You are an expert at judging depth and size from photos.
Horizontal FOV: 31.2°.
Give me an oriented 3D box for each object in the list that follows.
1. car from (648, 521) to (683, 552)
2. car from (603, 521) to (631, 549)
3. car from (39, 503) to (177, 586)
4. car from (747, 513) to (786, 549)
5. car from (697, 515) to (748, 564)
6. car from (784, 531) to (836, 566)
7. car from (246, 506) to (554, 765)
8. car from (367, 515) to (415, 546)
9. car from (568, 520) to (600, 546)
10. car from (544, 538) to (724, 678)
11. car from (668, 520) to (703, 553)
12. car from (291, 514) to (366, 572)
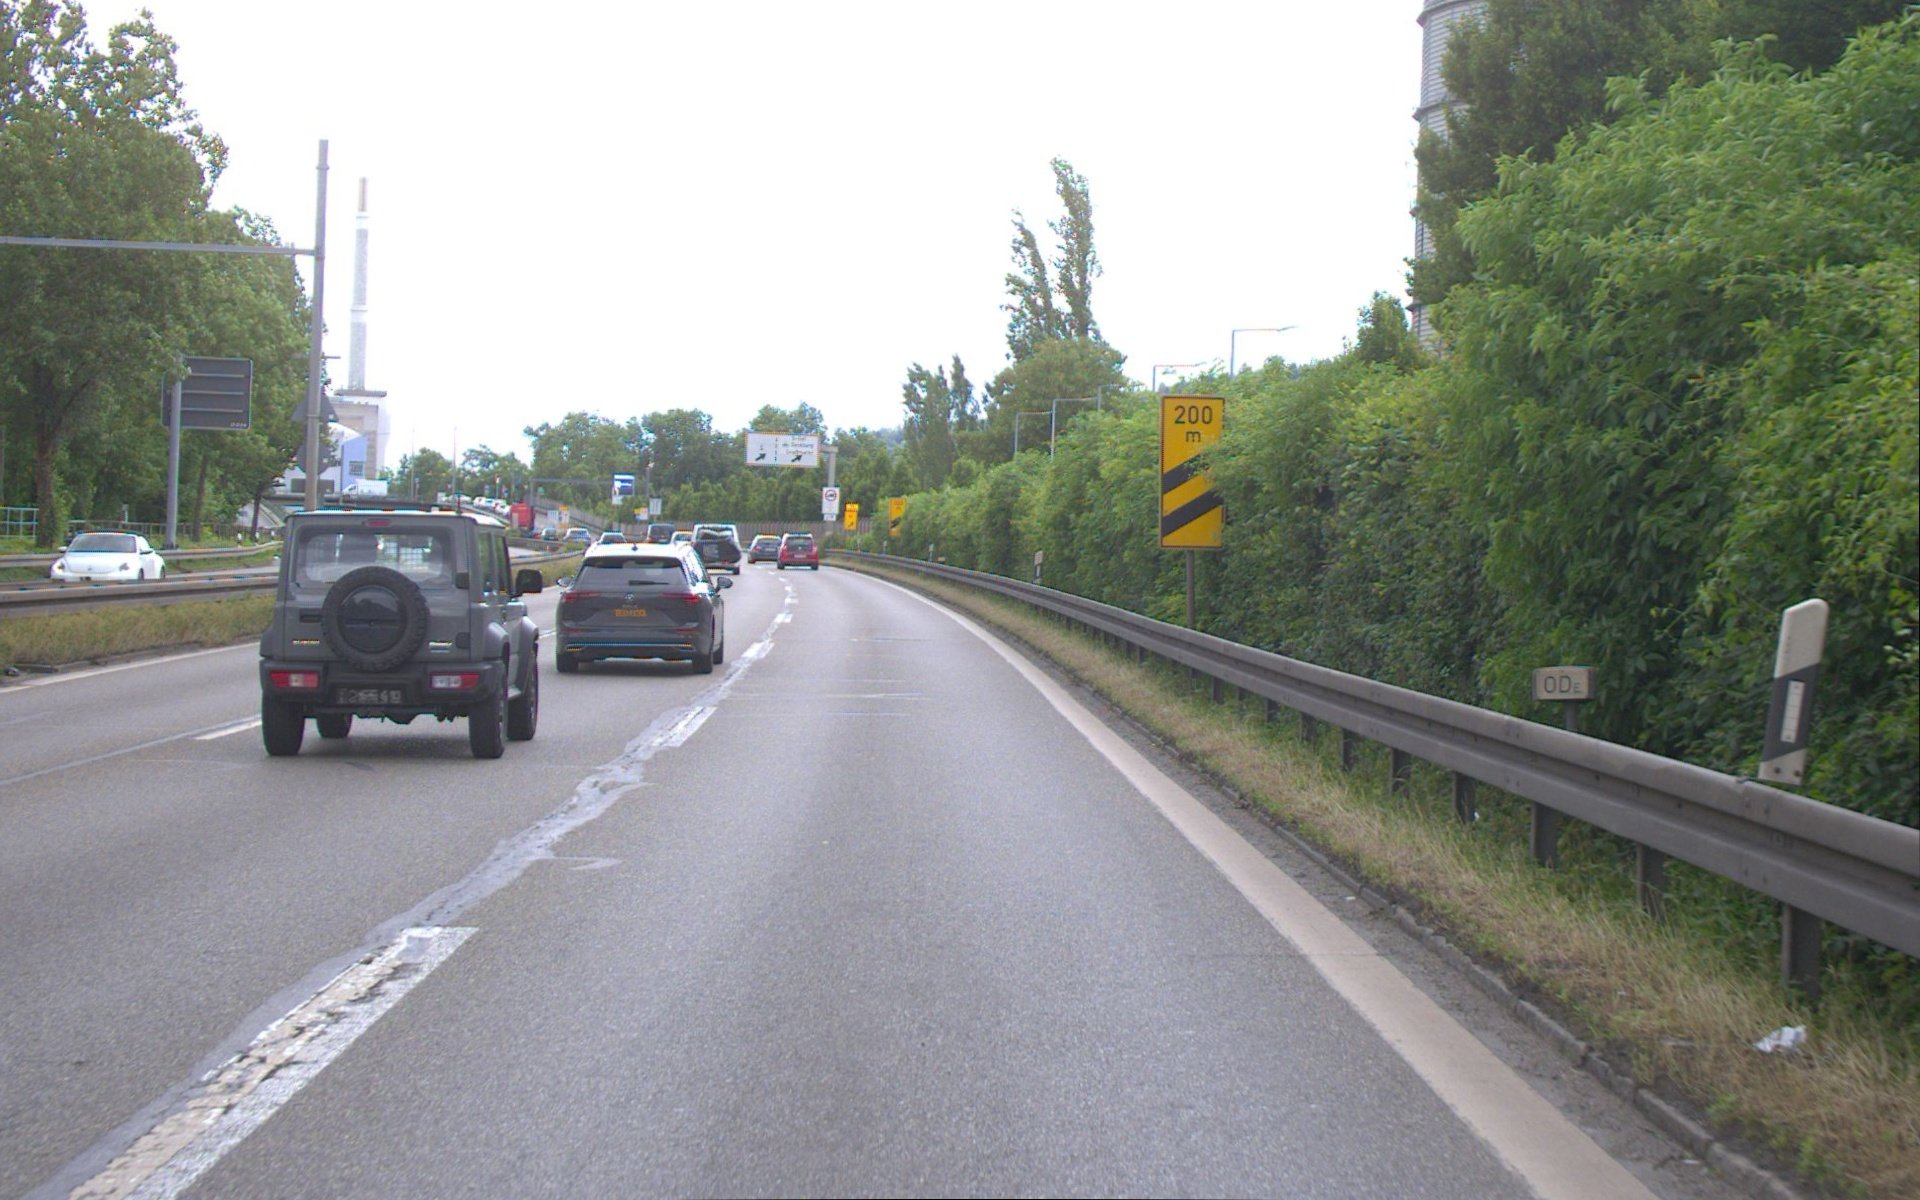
[{"bbox_3d":[-19.097,-4.110,222.543,2.013,1.927,4.902,1,1,-7],"label":"car"},{"bbox_3d":[-21.273,-4.035,213.277,1.697,1.736,4.394,1,1,-6],"label":"car"},{"bbox_3d":[-18.004,-1.192,72.870,1.866,1.669,4.719,1,1,-2],"label":"car"},{"bbox_3d":[-9.750,-3.461,173.067,1.697,1.736,4.394,1,1,-6],"label":"car"},{"bbox_3d":[-8.830,-2.251,128.020,1.697,1.736,4.000,2,1,-1],"label":"car"},{"bbox_3d":[-6.494,-2.232,148.498,1.974,1.418,4.901,1,1,-5],"label":"car"},{"bbox_3d":[-3.930,0.187,24.678,1.697,1.680,4.001,1,1,-2],"label":"car"},{"bbox_3d":[-27.289,-3.325,164.971,1.717,1.460,4.381,1,1,-3],"label":"car"},{"bbox_3d":[-27.833,-4.963,254.391,2.013,1.927,4.902,1,1,-9],"label":"car"},{"bbox_3d":[-3.687,0.044,39.607,1.844,1.418,4.901,2,1,-3],"label":"car"},{"bbox_3d":[-16.299,-3.782,204.486,2.013,1.927,4.901,1,1,-4],"label":"car"},{"bbox_3d":[-20.016,-1.812,109.111,1.726,1.768,3.742,1,1,-1],"label":"car"}]
